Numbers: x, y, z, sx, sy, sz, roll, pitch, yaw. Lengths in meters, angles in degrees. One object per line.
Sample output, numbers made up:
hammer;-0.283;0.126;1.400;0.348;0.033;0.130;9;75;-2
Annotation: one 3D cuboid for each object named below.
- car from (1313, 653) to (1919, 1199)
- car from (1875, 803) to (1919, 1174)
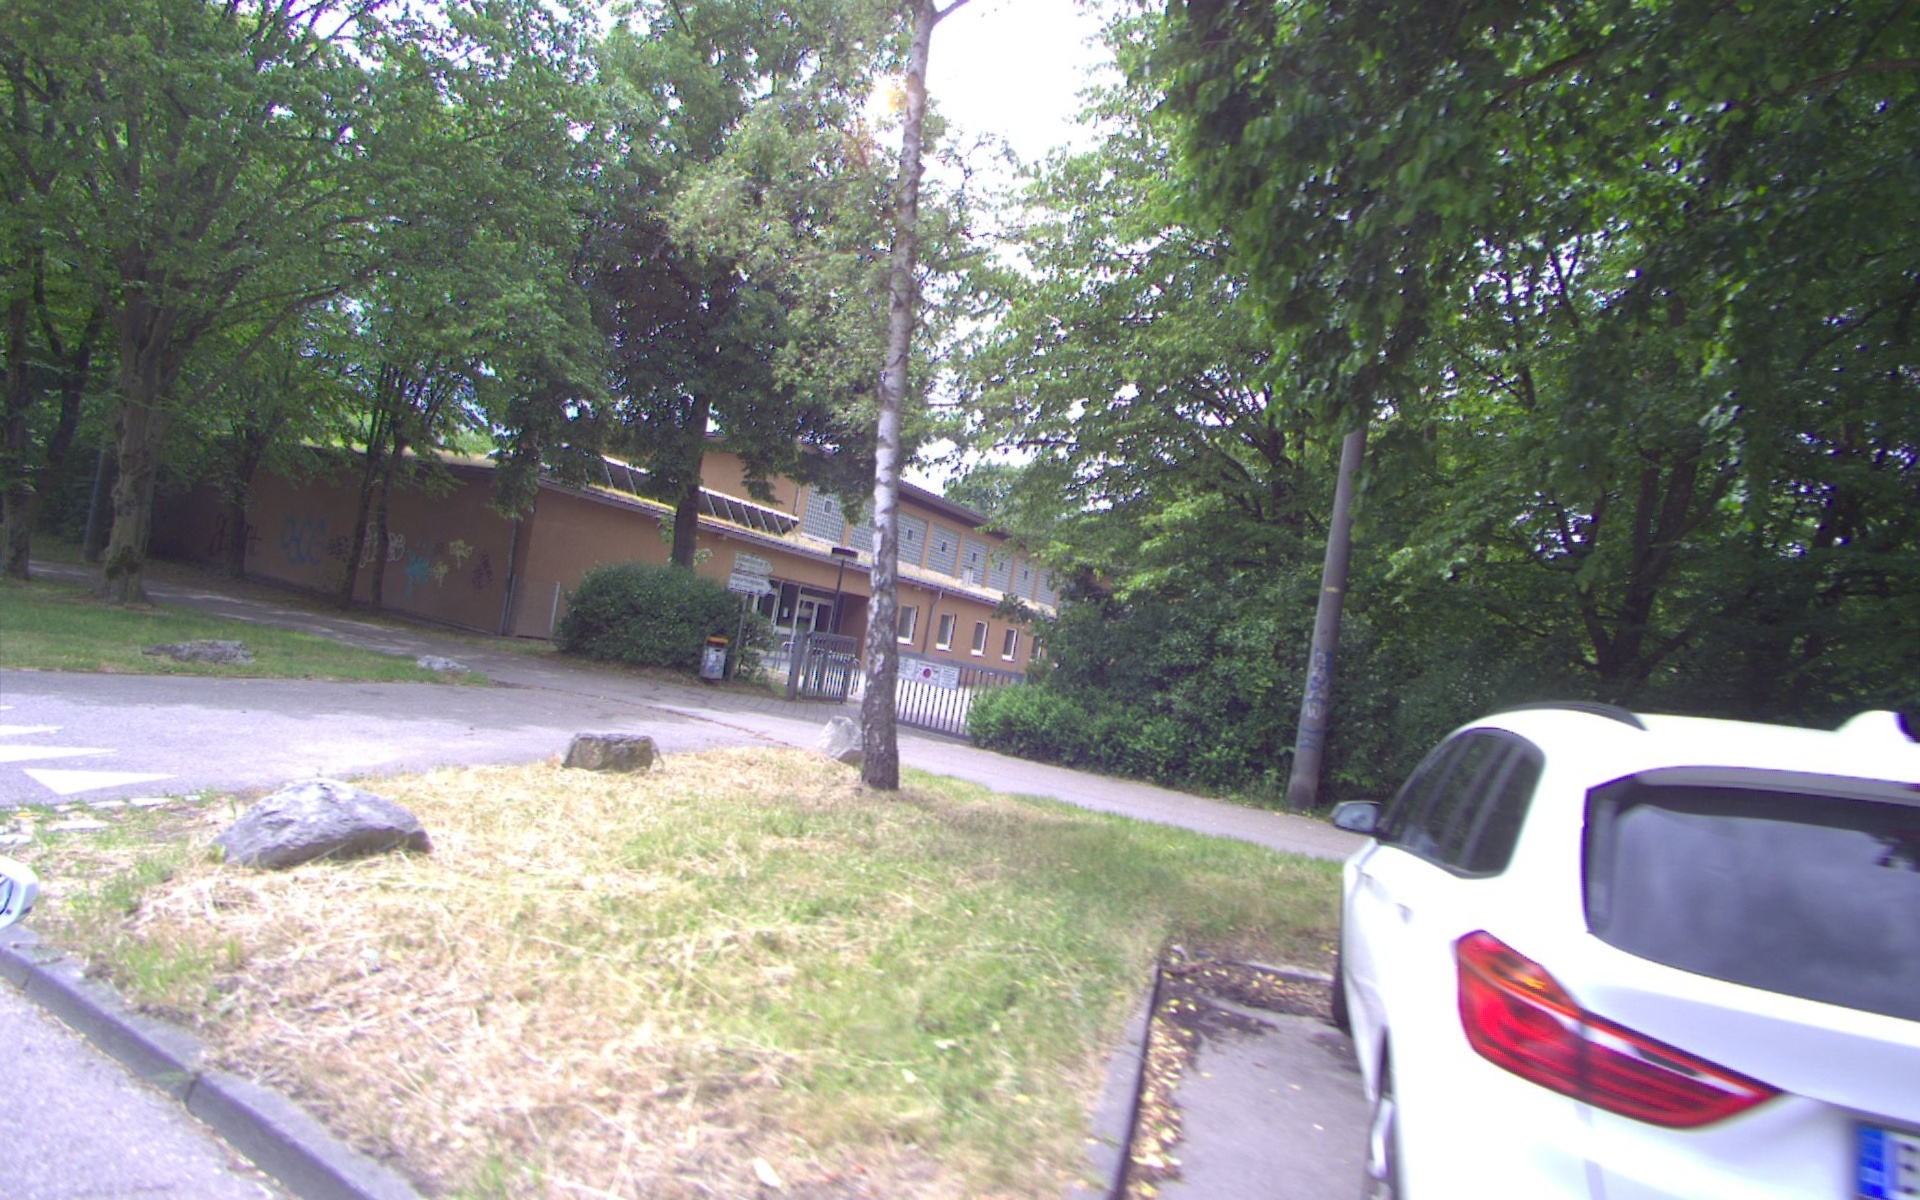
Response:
car;2.341;1.239;3.492;1.871;1.602;4.491;7;-4;19
car;4.429;1.533;2.147;1.764;1.479;4.155;8;-4;14
